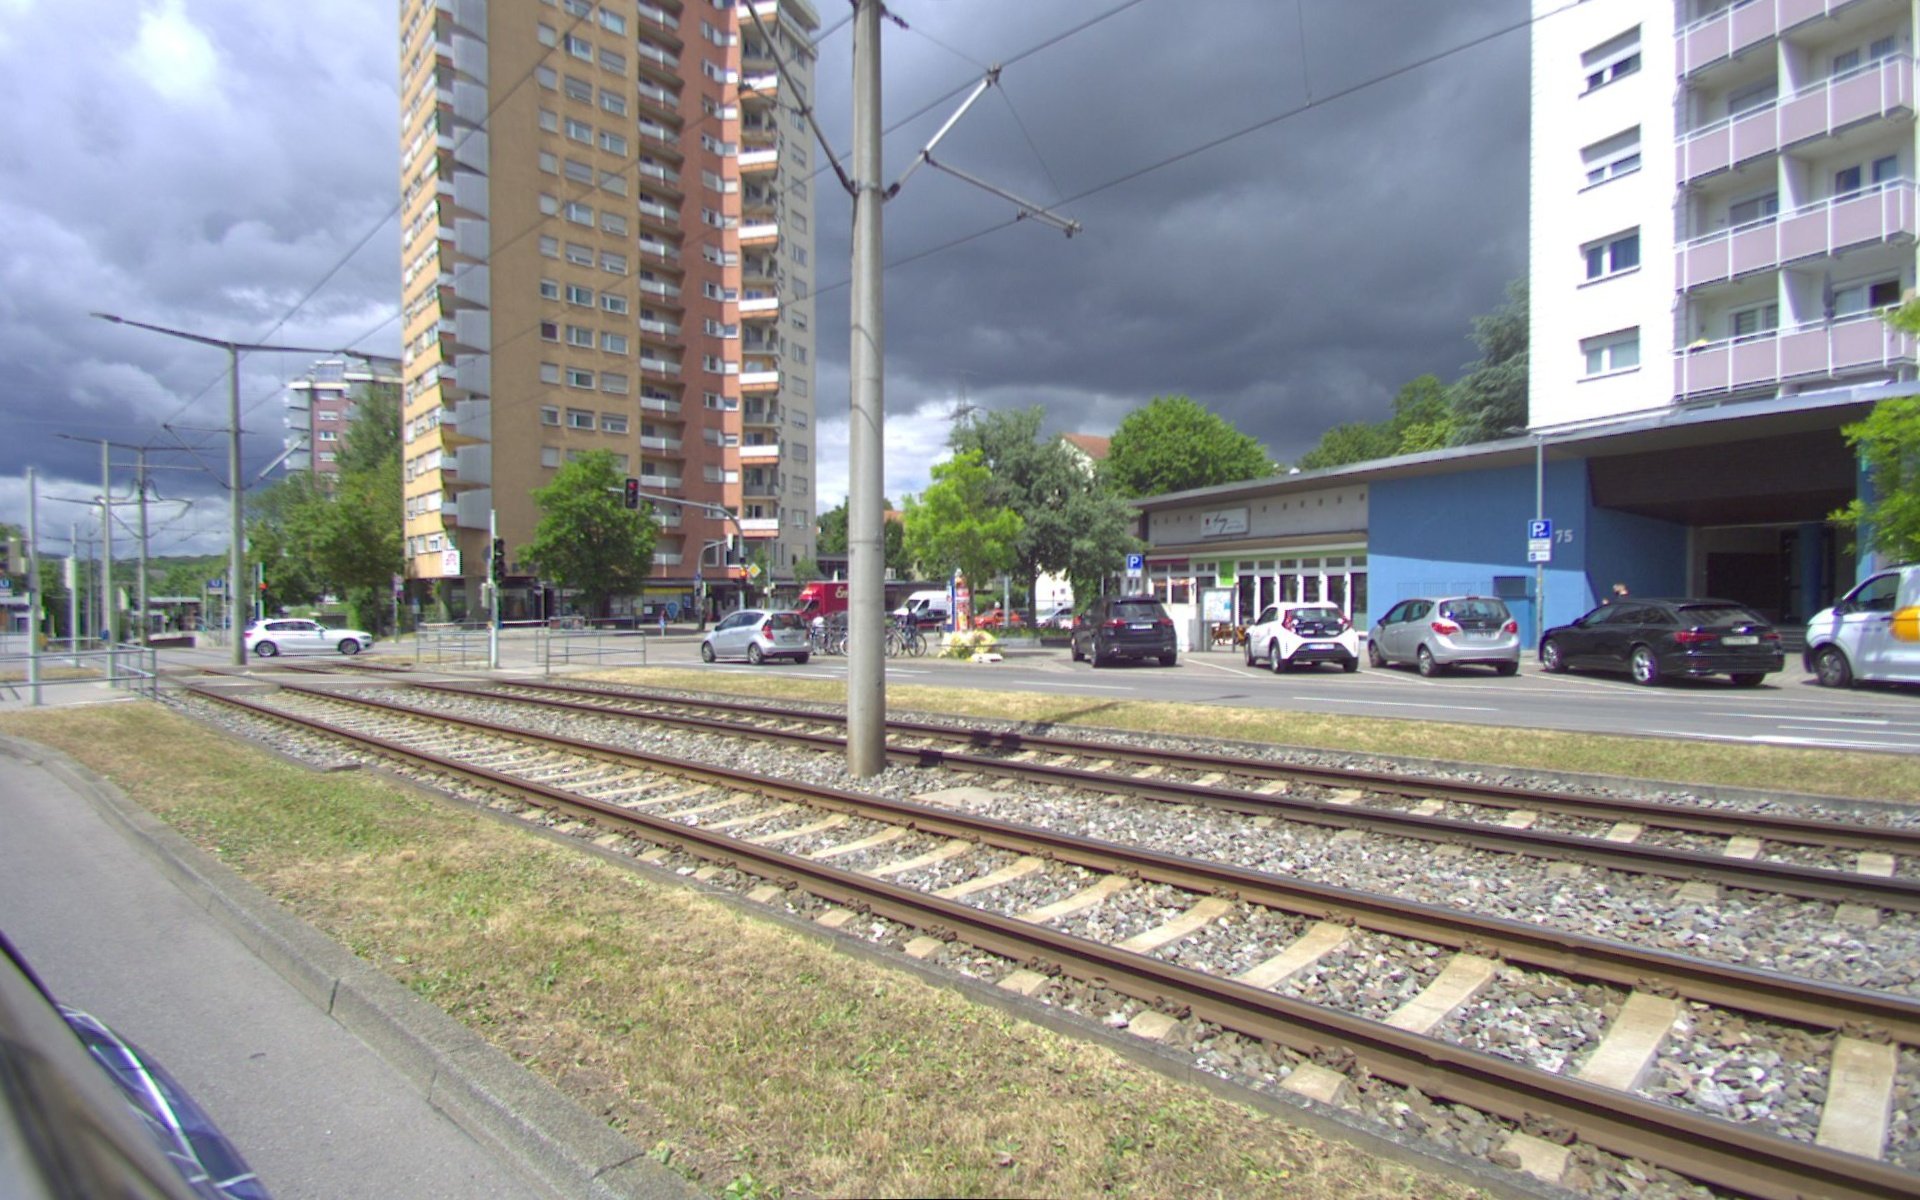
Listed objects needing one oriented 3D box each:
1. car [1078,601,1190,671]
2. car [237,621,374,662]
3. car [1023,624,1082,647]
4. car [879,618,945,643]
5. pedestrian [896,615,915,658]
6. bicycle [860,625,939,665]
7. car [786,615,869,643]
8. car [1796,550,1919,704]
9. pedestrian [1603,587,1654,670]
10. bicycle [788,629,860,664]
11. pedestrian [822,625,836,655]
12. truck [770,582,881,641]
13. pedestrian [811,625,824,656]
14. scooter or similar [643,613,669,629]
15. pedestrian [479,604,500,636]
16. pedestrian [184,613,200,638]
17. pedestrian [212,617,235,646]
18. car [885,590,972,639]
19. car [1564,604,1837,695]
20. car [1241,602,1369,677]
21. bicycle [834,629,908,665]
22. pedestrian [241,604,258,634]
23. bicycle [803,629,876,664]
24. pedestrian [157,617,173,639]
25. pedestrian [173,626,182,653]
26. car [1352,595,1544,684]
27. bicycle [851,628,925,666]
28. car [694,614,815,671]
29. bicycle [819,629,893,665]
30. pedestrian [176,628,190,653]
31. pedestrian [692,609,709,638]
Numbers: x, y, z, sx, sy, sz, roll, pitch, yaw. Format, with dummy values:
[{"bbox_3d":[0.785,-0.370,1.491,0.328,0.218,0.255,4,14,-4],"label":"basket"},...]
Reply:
[{"bbox_3d":[4.314,0.901,25.736,1.904,1.603,4.003,-1,-2,-3],"label":"car"},{"bbox_3d":[-25.099,1.553,38.982,4.201,1.462,1.801,0,-1,-23],"label":"car"},{"bbox_3d":[6.746,2.545,73.814,3.934,1.614,2.004,1,-2,-37],"label":"car"},{"bbox_3d":[-3.186,2.002,67.048,3.934,1.614,2.004,1,-2,-37],"label":"car"},{"bbox_3d":[-2.104,1.398,39.230,0.600,1.655,0.412,-2,-3,42],"label":"pedestrian"},{"bbox_3d":[-1.738,1.290,29.394,0.717,1.042,2.400,-2,0,44],"label":"bicycle"},{"bbox_3d":[-7.186,1.532,55.232,1.972,1.409,4.621,0,0,33],"label":"car"},{"bbox_3d":[14.538,0.364,14.078,1.881,2.173,4.758,-1,-2,2],"label":"car"},{"bbox_3d":[15.031,0.635,22.775,0.888,1.835,0.762,-1,-2,32],"label":"pedestrian"},{"bbox_3d":[-4.424,1.508,33.059,0.705,1.074,2.399,-2,-2,44],"label":"bicycle"},{"bbox_3d":[-6.405,1.965,49.594,0.562,1.483,0.528,0,-2,-19],"label":"pedestrian"},{"bbox_3d":[-8.840,0.805,67.066,6.987,3.702,2.551,1,-2,-39],"label":"truck"},{"bbox_3d":[-6.880,1.933,48.953,0.510,1.483,0.528,0,-2,-19],"label":"pedestrian"},{"bbox_3d":[-21.610,1.514,71.889,0.545,1.102,1.729,-2,-2,41],"label":"scooter or similar"},{"bbox_3d":[-29.181,1.266,62.747,0.854,1.949,0.907,-2,-3,45],"label":"pedestrian"},{"bbox_3d":[-55.050,1.835,72.538,0.748,1.787,0.853,-2,-3,45],"label":"pedestrian"},{"bbox_3d":[-43.901,1.872,60.357,0.721,1.609,0.898,-2,3,45],"label":"pedestrian"},{"bbox_3d":[-2.197,1.034,71.916,6.202,3.324,2.004,1,-2,-37],"label":"car"},{"bbox_3d":[12.702,0.824,17.741,1.881,1.394,3.997,-1,-2,2],"label":"car"},{"bbox_3d":[7.544,0.870,22.485,1.725,1.508,3.762,-1,-2,4],"label":"car"},{"bbox_3d":[-2.732,1.439,31.391,0.705,1.074,2.399,-2,-2,44],"label":"bicycle"},{"bbox_3d":[-36.861,1.004,52.493,0.638,1.525,0.723,0,-2,-27],"label":"pedestrian"},{"bbox_3d":[-3.853,1.485,32.499,0.705,1.074,2.399,-2,-2,44],"label":"bicycle"},{"bbox_3d":[-60.406,2.113,76.866,0.748,1.618,0.853,-2,-3,45],"label":"pedestrian"},{"bbox_3d":[-62.793,3.133,81.171,0.524,2.158,0.609,1,-2,-41],"label":"pedestrian"},{"bbox_3d":[9.921,0.797,20.965,1.879,1.644,4.002,-1,-2,-2],"label":"car"},{"bbox_3d":[-2.167,1.417,30.868,0.705,1.074,2.399,-2,-2,44],"label":"bicycle"},{"bbox_3d":[-6.019,1.230,29.461,1.796,1.544,3.759,1,-2,-42],"label":"car"},{"bbox_3d":[-3.260,1.461,31.939,0.705,1.074,2.399,-2,-2,44],"label":"bicycle"},{"bbox_3d":[-59.726,3.096,77.823,0.573,1.946,0.760,-2,-3,44],"label":"pedestrian"},{"bbox_3d":[-16.436,1.512,64.077,0.638,1.825,0.883,-1,-2,18],"label":"pedestrian"}]
